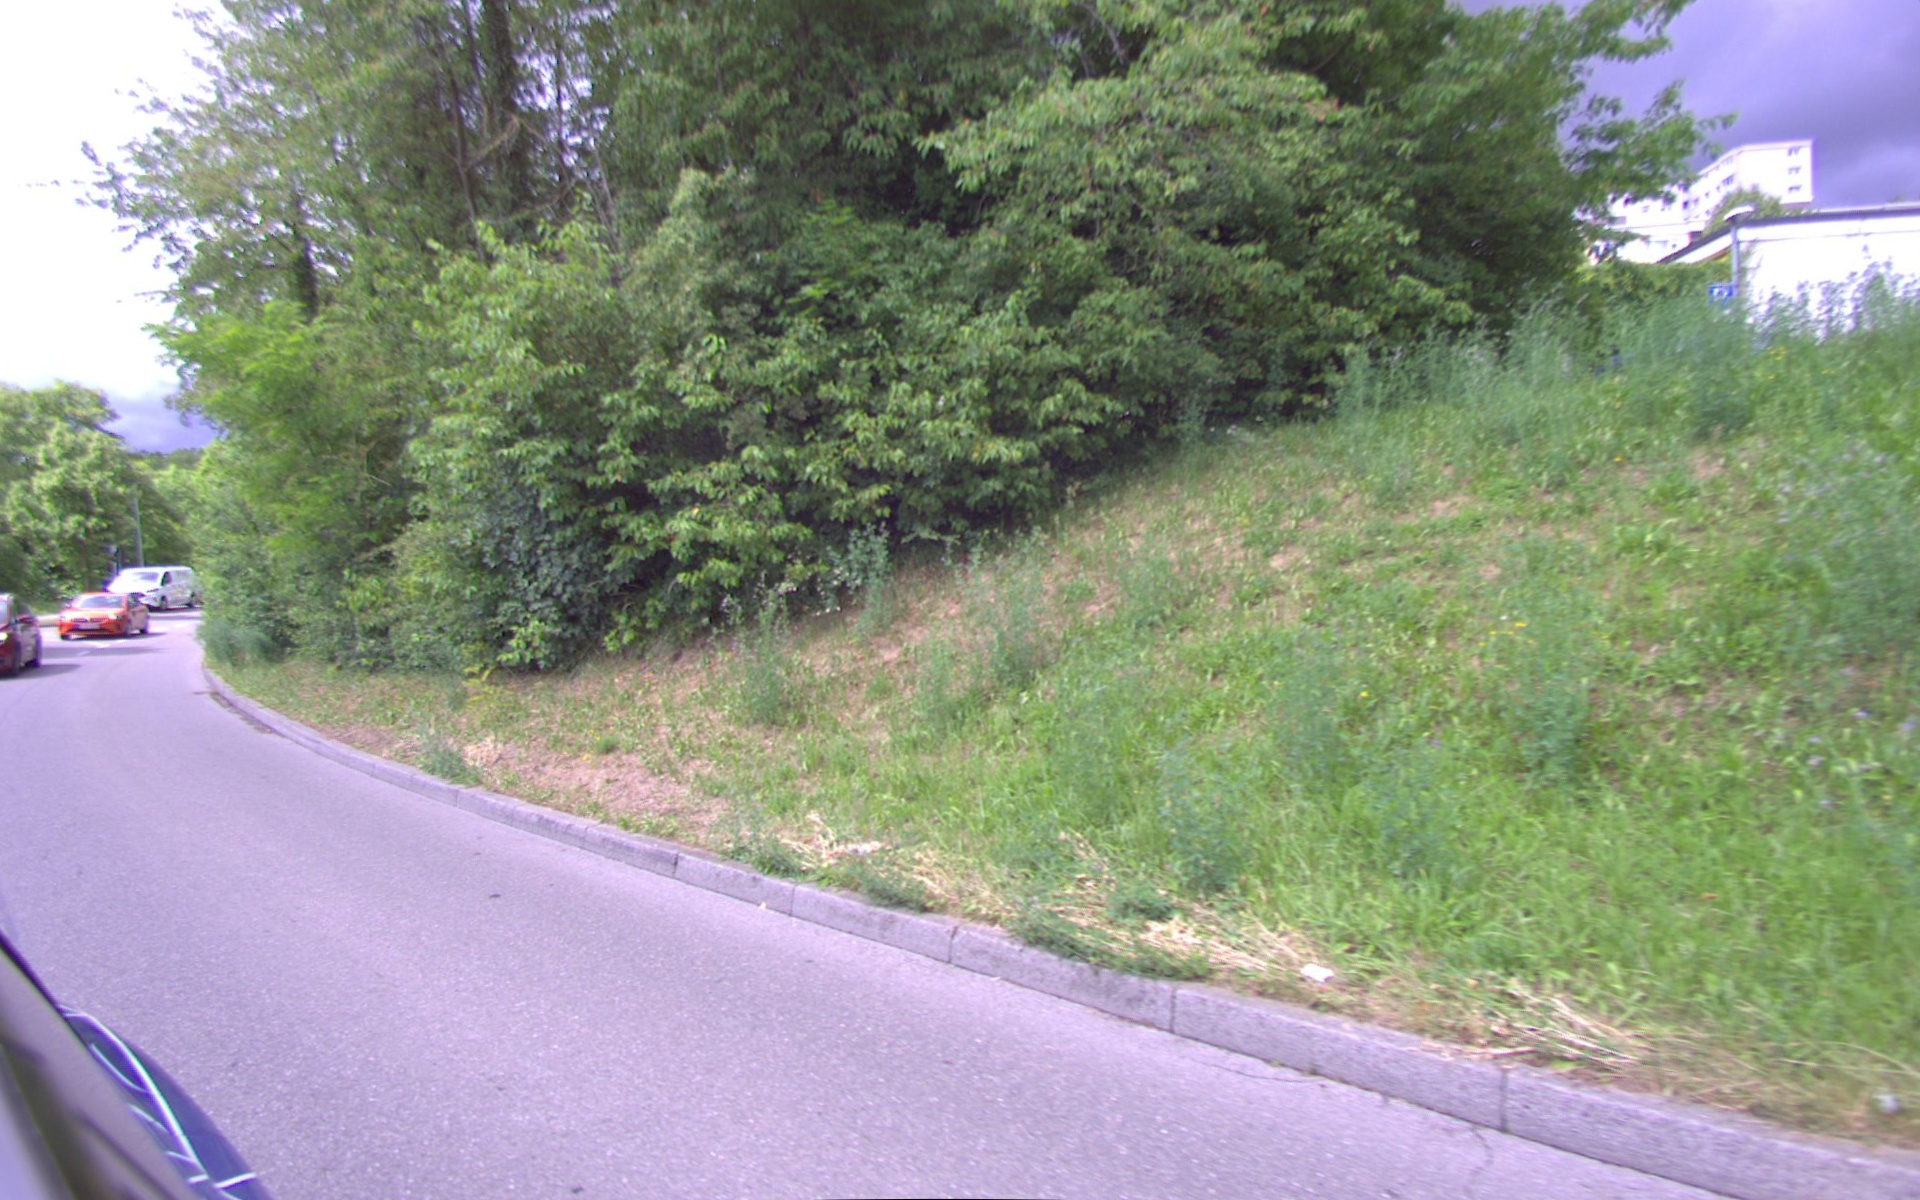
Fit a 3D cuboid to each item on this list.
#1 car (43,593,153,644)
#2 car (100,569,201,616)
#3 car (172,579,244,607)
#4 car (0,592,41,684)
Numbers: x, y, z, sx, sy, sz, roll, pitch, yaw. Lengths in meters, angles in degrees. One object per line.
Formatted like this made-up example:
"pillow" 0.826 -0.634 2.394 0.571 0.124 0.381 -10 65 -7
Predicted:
"car" -27.838 0.557 32.820 1.766 1.423 4.127 0 2 -27
"car" -37.334 -0.399 46.867 1.839 2.074 5.444 -1 1 -18
"car" -39.248 -0.401 52.898 1.766 1.423 4.118 -1 1 -18
"car" -20.143 0.708 20.393 1.882 1.711 4.398 0 1 -35
